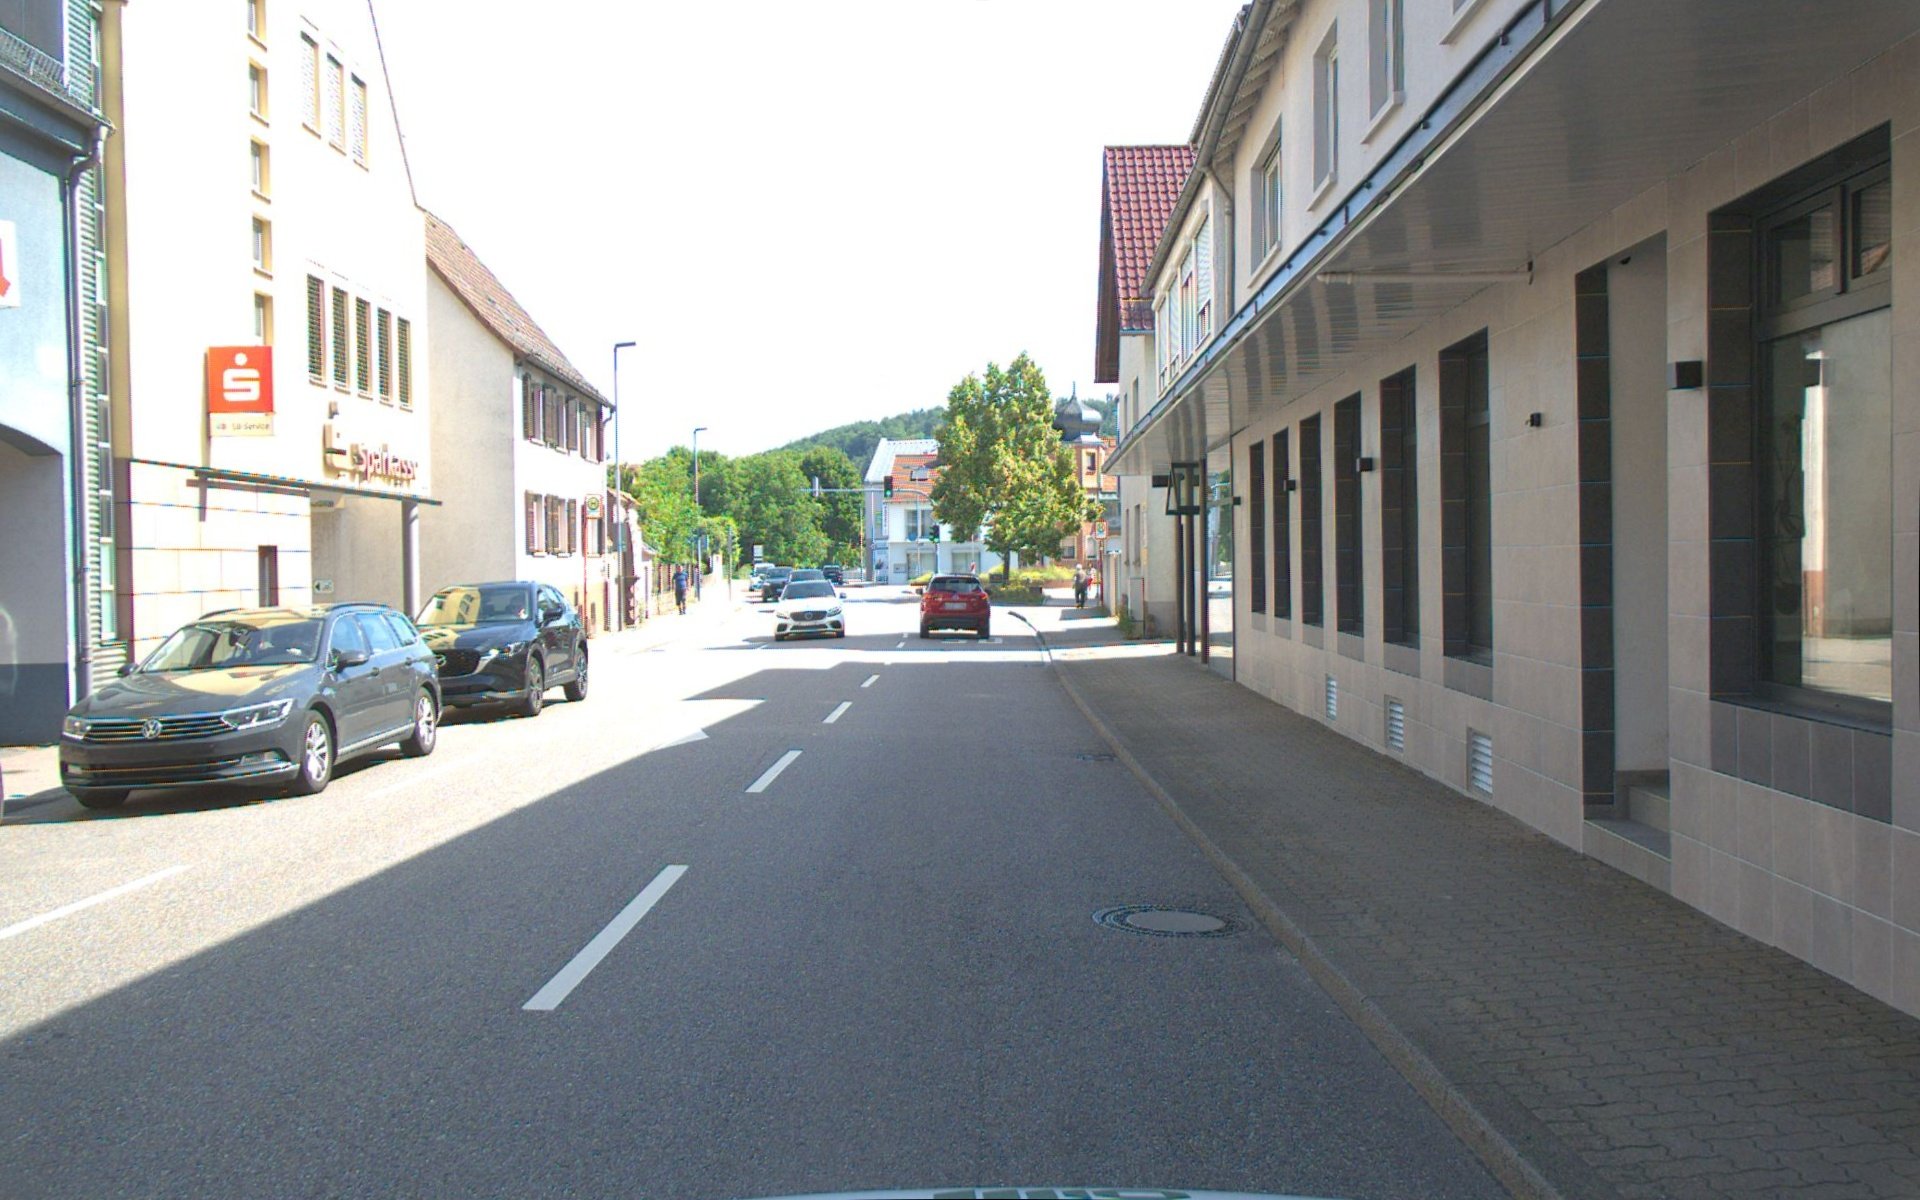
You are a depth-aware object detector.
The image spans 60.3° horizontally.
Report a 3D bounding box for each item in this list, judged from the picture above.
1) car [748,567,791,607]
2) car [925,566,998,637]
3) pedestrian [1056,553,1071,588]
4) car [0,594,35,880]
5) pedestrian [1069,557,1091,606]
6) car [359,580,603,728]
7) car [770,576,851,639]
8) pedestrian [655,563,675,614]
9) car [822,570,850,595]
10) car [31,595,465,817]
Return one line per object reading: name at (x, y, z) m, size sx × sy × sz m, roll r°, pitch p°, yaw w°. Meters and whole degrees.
car at (-9.337, -0.621, 81.380) m, size 1.739 × 1.816 × 3.837 m, roll -2°, pitch -1°, yaw -2°
car at (0.085, 0.017, 43.588) m, size 1.820 × 1.744 × 4.423 m, roll 0°, pitch 1°, yaw 1°
pedestrian at (5.799, -1.640, 92.709) m, size 0.630 × 1.912 × 0.651 m, roll -2°, pitch -2°, yaw -6°
car at (-5.996, 0.792, 7.247) m, size 1.596 × 1.546 × 4.019 m, roll -3°, pitch 0°, yaw -1°
pedestrian at (4.392, -0.675, 60.772) m, size 0.630 × 1.737 × 0.699 m, roll -2°, pitch -2°, yaw -6°
car at (-6.021, 0.609, 21.378) m, size 1.829 × 1.617 × 4.517 m, roll -3°, pitch 0°, yaw -1°
car at (-3.930, 0.171, 43.493) m, size 1.949 × 1.469 × 5.095 m, roll -2°, pitch 0°, yaw -5°
pedestrian at (-11.109, -0.430, 62.318) m, size 0.652 × 1.856 × 0.798 m, roll -2°, pitch -2°, yaw -6°
car at (-9.888, -1.378, 132.069) m, size 1.893 × 1.825 × 3.956 m, roll -2°, pitch -1°, yaw 0°
car at (-5.753, 0.753, 14.035) m, size 1.752 × 1.476 × 4.423 m, roll -3°, pitch 0°, yaw -1°
